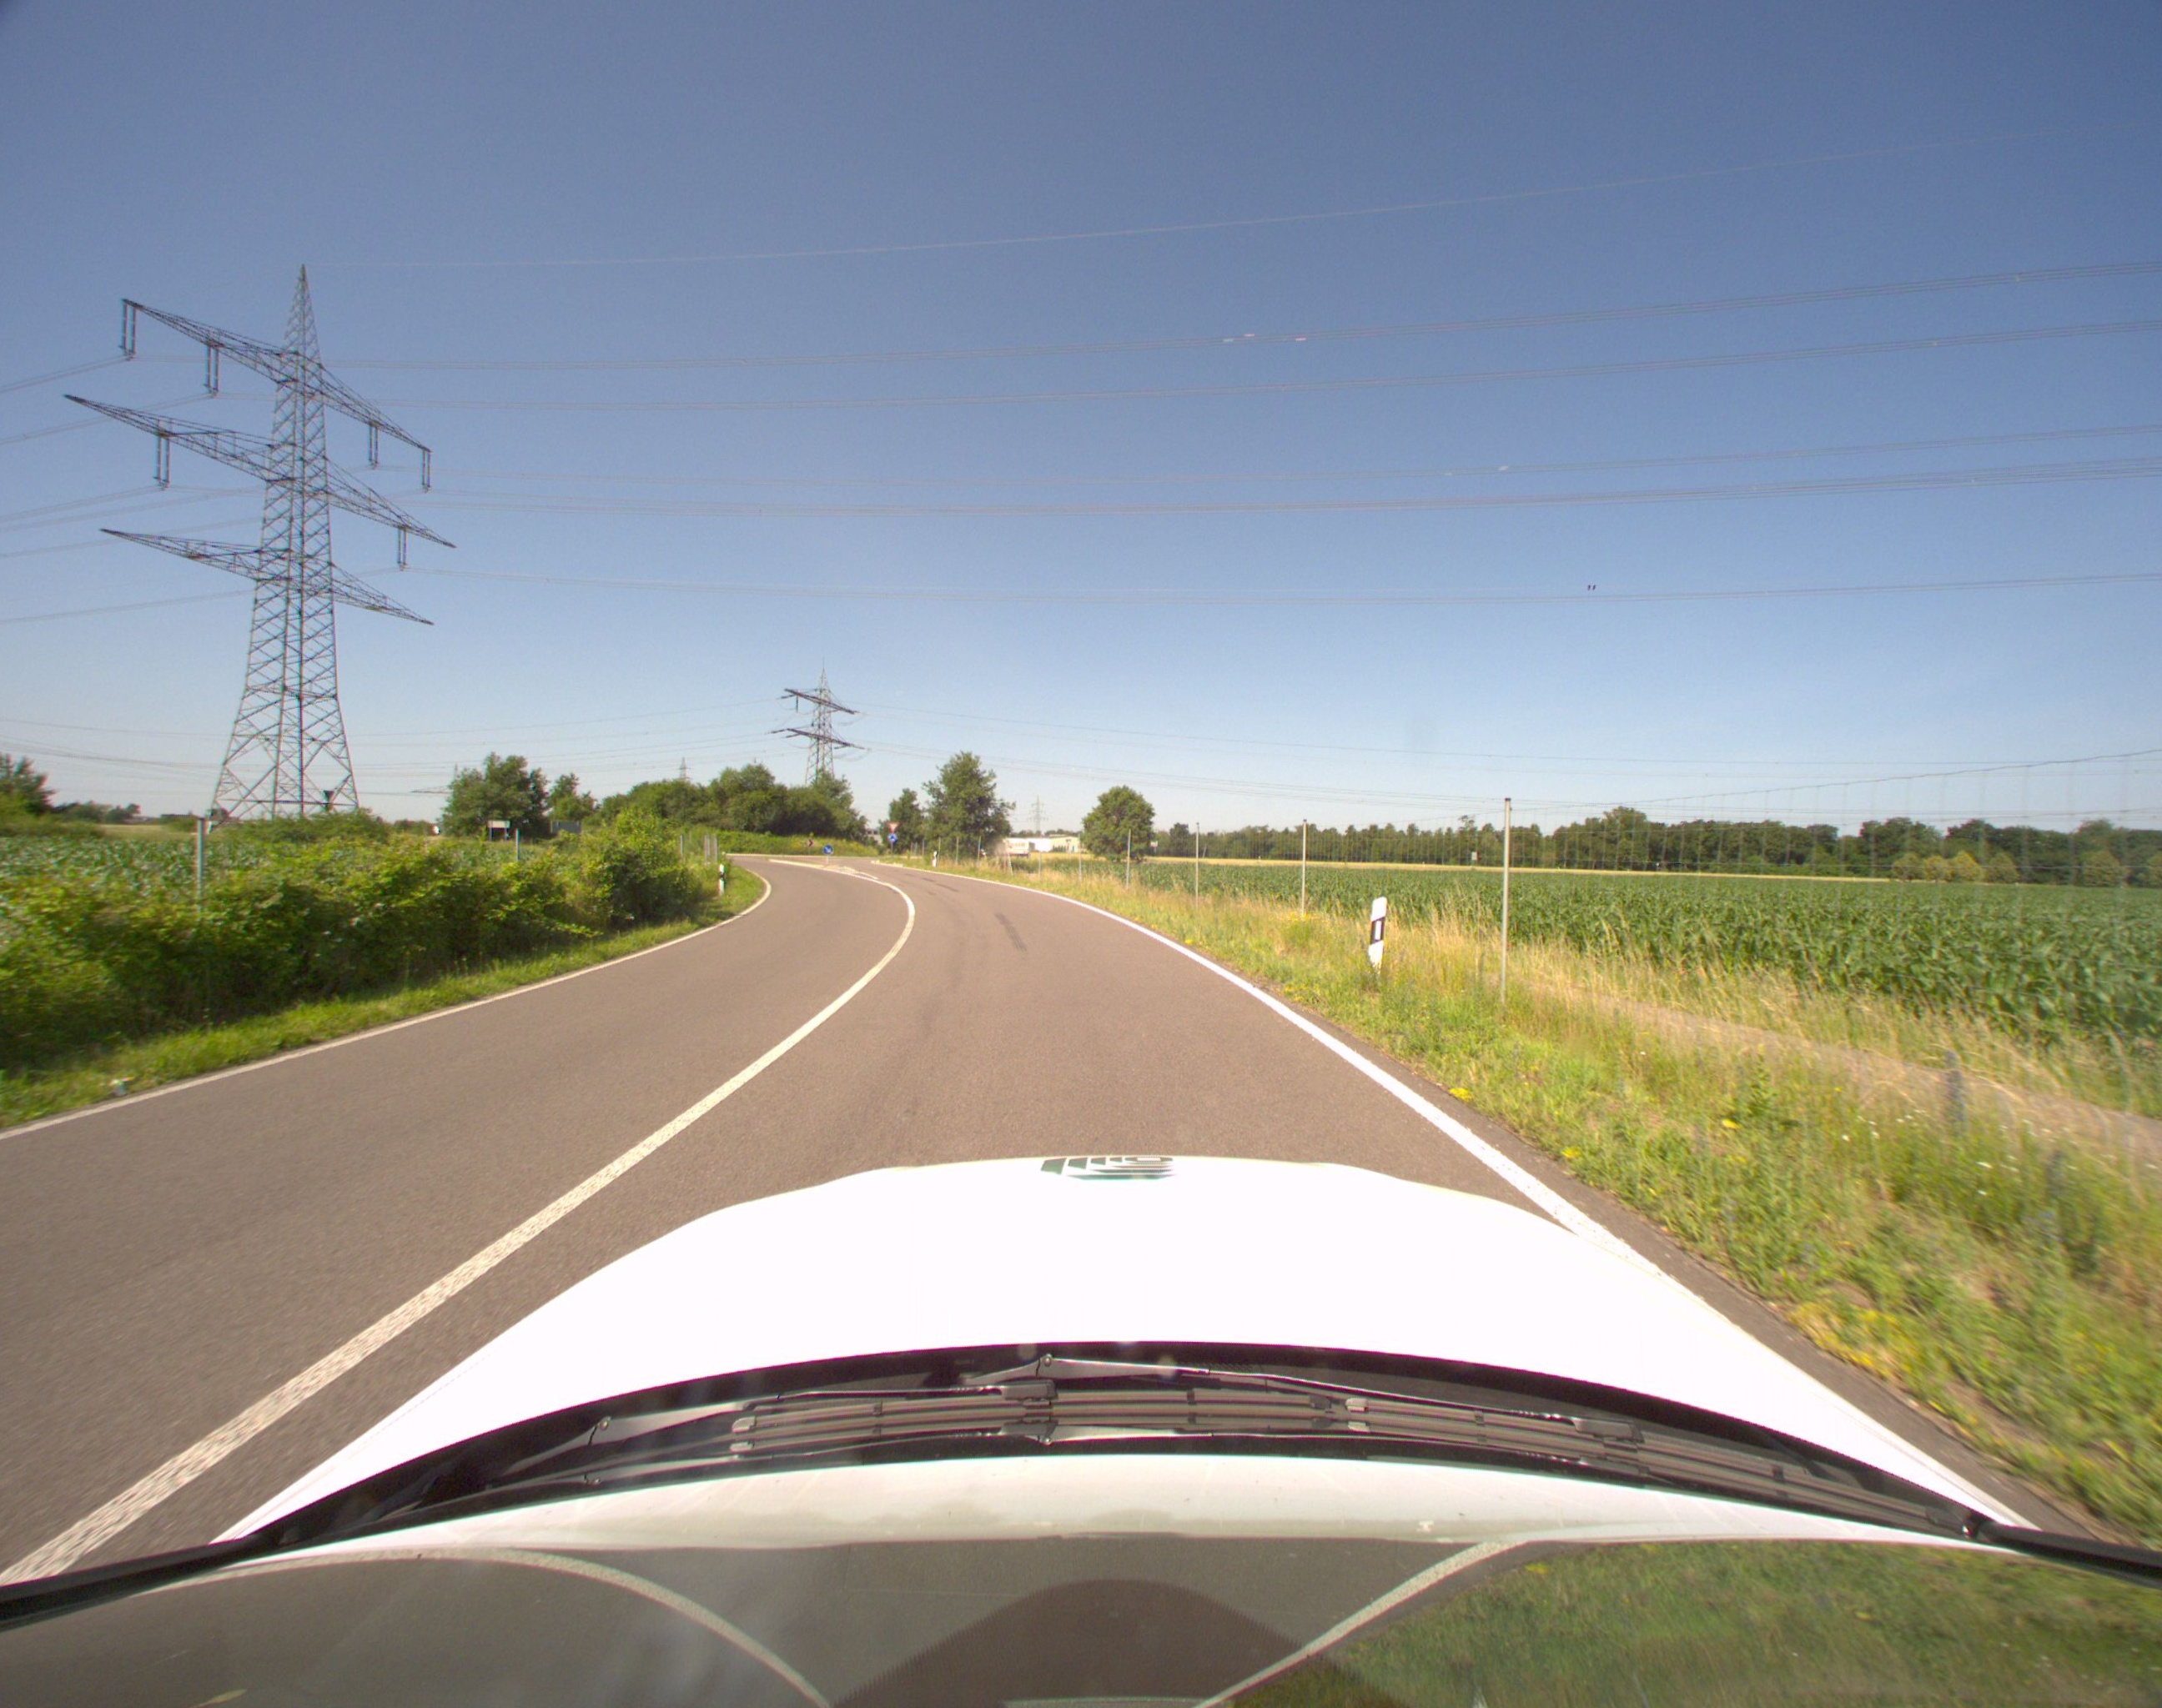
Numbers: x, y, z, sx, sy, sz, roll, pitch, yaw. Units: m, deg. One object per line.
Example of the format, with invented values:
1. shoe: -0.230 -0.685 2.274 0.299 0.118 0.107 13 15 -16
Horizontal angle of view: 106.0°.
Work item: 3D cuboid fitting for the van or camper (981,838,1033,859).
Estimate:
1. van or camper: -8.628 -0.639 95.023 5.785 2.266 1.981 1 0 -30
